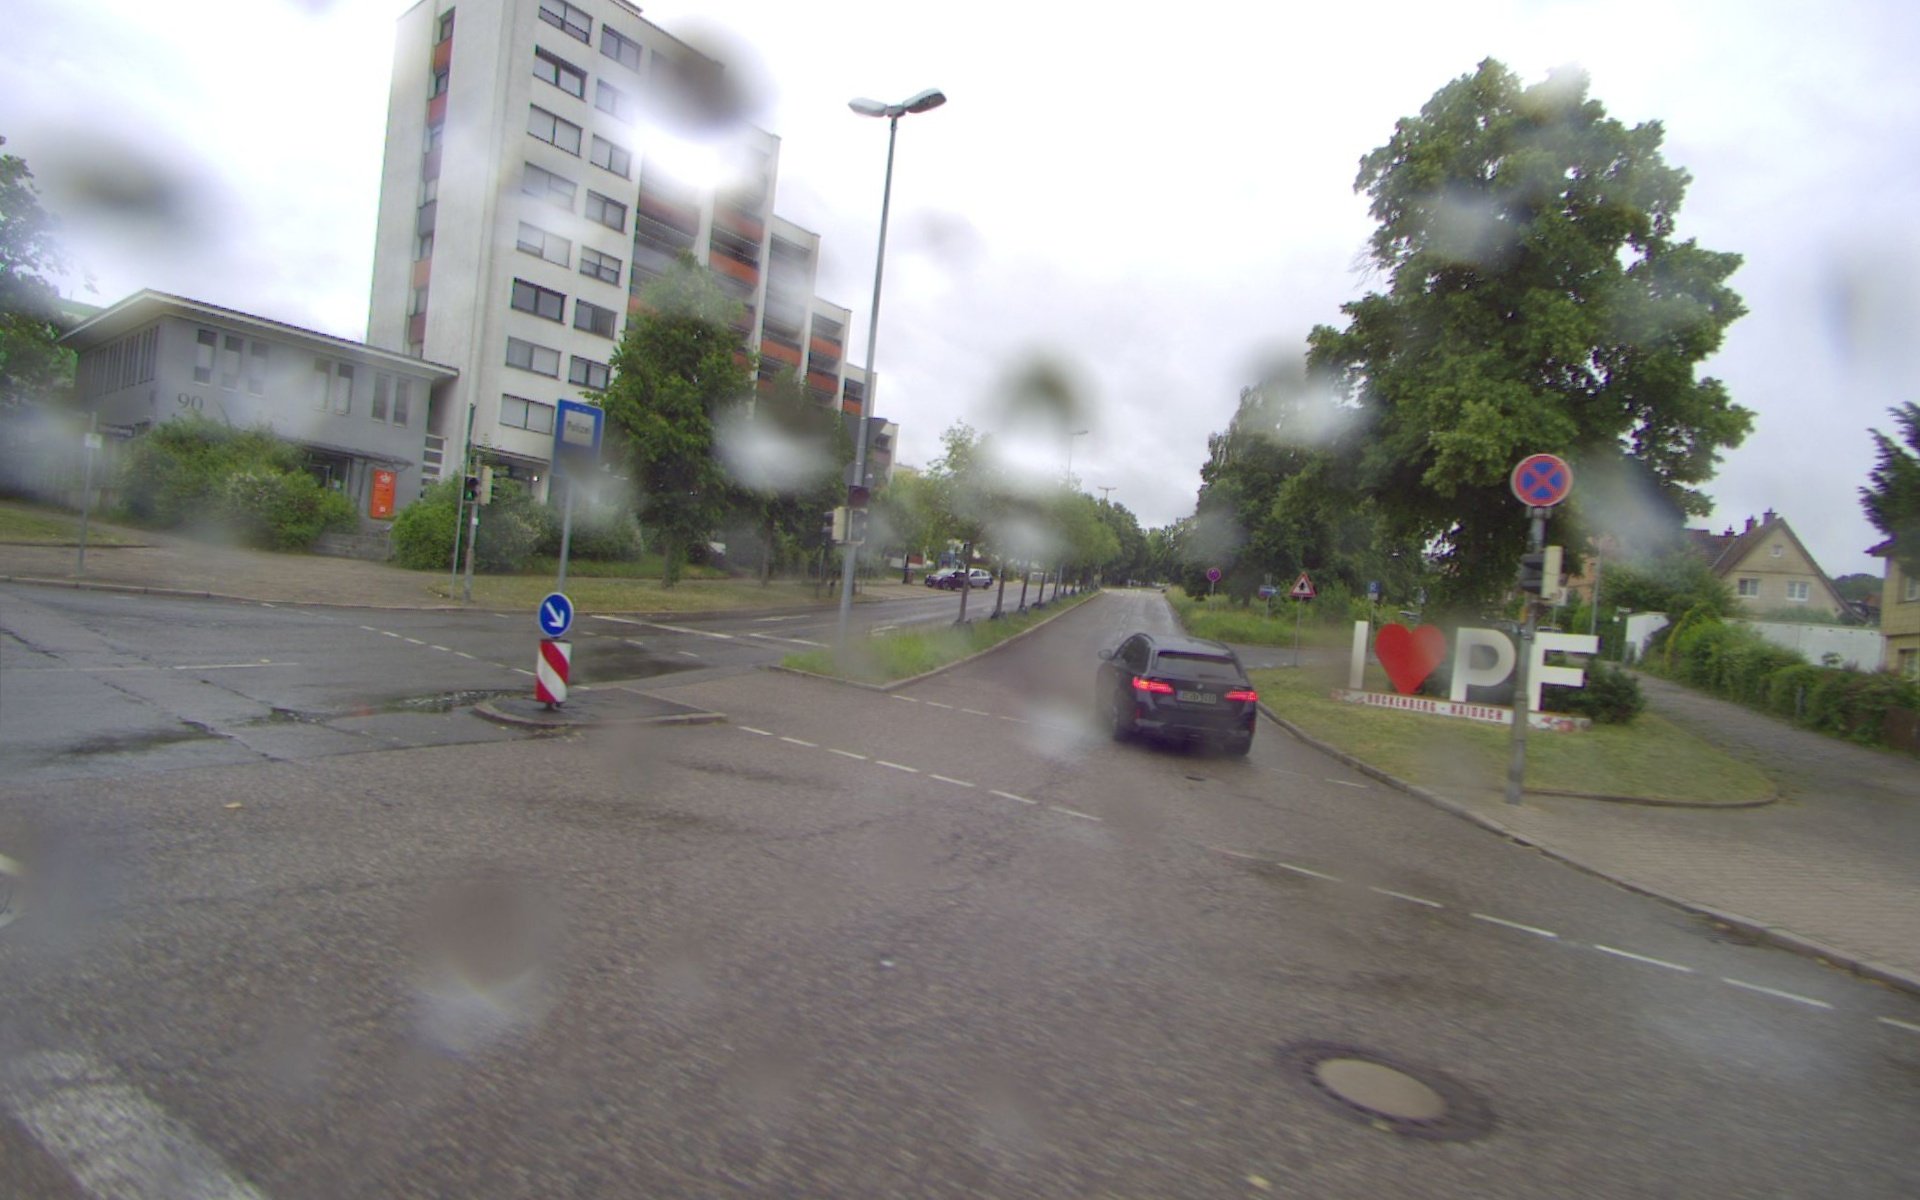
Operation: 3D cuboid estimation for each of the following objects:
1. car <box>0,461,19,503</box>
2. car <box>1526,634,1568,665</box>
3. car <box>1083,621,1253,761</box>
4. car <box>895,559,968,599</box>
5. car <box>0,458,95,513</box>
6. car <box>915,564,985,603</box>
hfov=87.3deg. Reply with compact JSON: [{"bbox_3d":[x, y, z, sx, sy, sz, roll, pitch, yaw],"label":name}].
[{"bbox_3d":[-49.395,-6.166,49.674,1.973,1.953,3.983,6,-3,43],"label":"car"},{"bbox_3d":[35.957,3.031,61.681,1.811,1.619,3.804,8,1,28],"label":"car"},{"bbox_3d":[2.853,1.194,14.538,1.501,1.552,3.532,8,-1,-1],"label":"car"},{"bbox_3d":[-1.887,-1.410,67.274,4.284,2.037,2.002,7,-2,18],"label":"car"},{"bbox_3d":[-42.939,-5.353,46.632,1.973,1.836,3.984,6,-3,42],"label":"car"},{"bbox_3d":[-0.675,-1.127,69.942,4.284,2.037,2.002,7,-2,18],"label":"car"}]
